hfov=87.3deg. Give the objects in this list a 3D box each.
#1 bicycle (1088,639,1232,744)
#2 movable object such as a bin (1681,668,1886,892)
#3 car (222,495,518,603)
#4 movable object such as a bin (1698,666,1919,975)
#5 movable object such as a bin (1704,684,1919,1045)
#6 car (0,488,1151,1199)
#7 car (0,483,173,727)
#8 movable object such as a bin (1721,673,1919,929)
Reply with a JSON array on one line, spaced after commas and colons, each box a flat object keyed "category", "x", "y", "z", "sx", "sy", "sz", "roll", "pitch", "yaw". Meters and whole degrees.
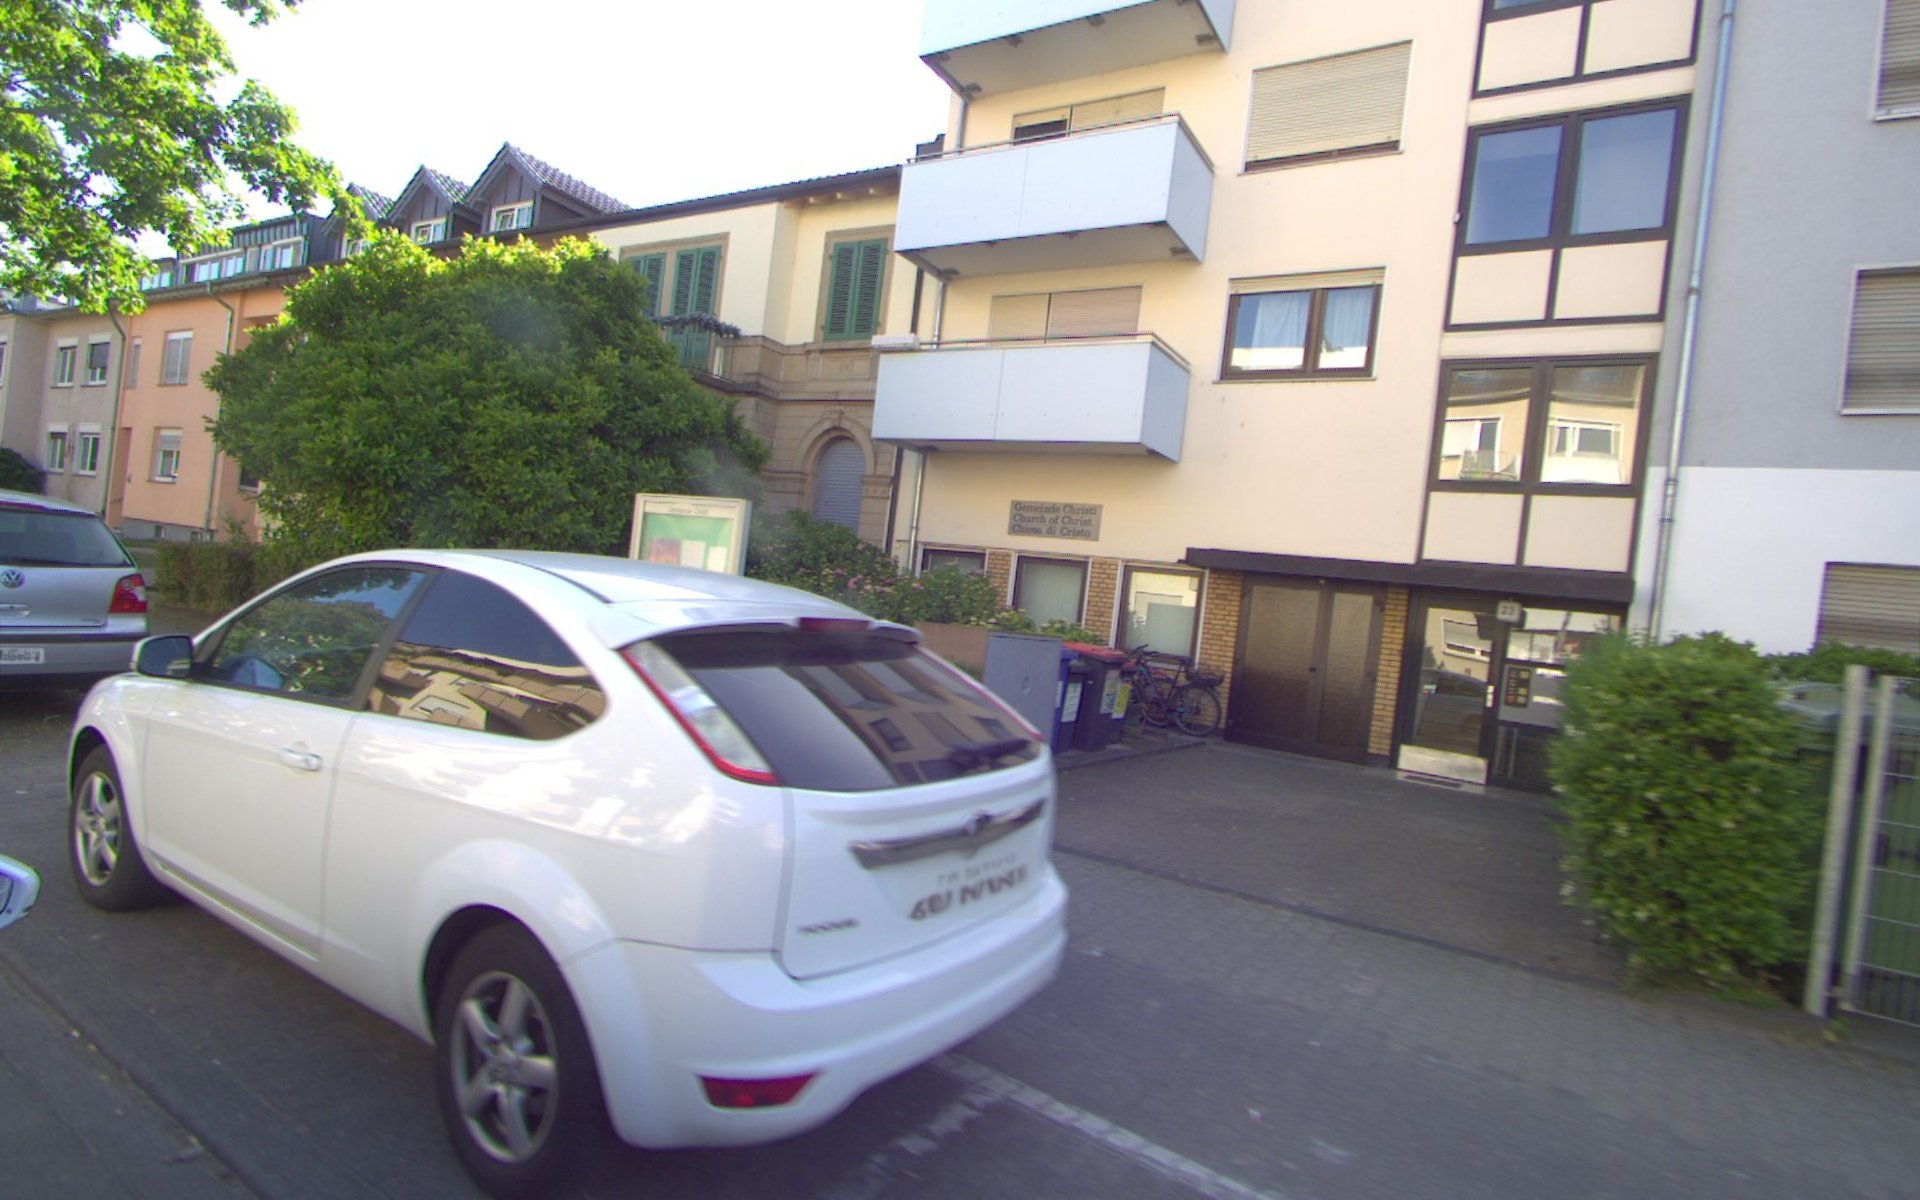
[{"category": "bicycle", "x": 2.618, "y": 1.182, "z": 13.242, "sx": 1.690, "sy": 1.122, "sz": 0.459, "roll": 7, "pitch": 0, "yaw": 32}, {"category": "movable object such as a bin", "x": 6.475, "y": 1.361, "z": 7.997, "sx": 0.828, "sy": 1.510, "sz": 1.089, "roll": 7, "pitch": 1, "yaw": 23}, {"category": "car", "x": -10.033, "y": -0.814, "z": 17.395, "sx": 1.801, "sy": 1.460, "sz": 3.986, "roll": 7, "pitch": 2, "yaw": 32}, {"category": "movable object such as a bin", "x": 4.993, "y": 1.185, "z": 5.782, "sx": 0.828, "sy": 1.492, "sz": 1.089, "roll": 7, "pitch": 1, "yaw": 23}, {"category": "movable object such as a bin", "x": 4.211, "y": 1.160, "z": 4.663, "sx": 0.828, "sy": 1.373, "sz": 1.140, "roll": 7, "pitch": 2, "yaw": 23}, {"category": "car", "x": -1.640, "y": 0.547, "z": 3.660, "sx": 4.128, "sy": 1.500, "sz": 1.740, "roll": 7, "pitch": 1, "yaw": 33}, {"category": "car", "x": -7.360, "y": -0.141, "z": 7.128, "sx": 3.802, "sy": 1.475, "sz": 1.568, "roll": 7, "pitch": 1, "yaw": 33}, {"category": "movable object such as a bin", "x": 5.903, "y": 1.289, "z": 6.788, "sx": 0.828, "sy": 1.457, "sz": 1.089, "roll": 7, "pitch": 1, "yaw": 23}]
